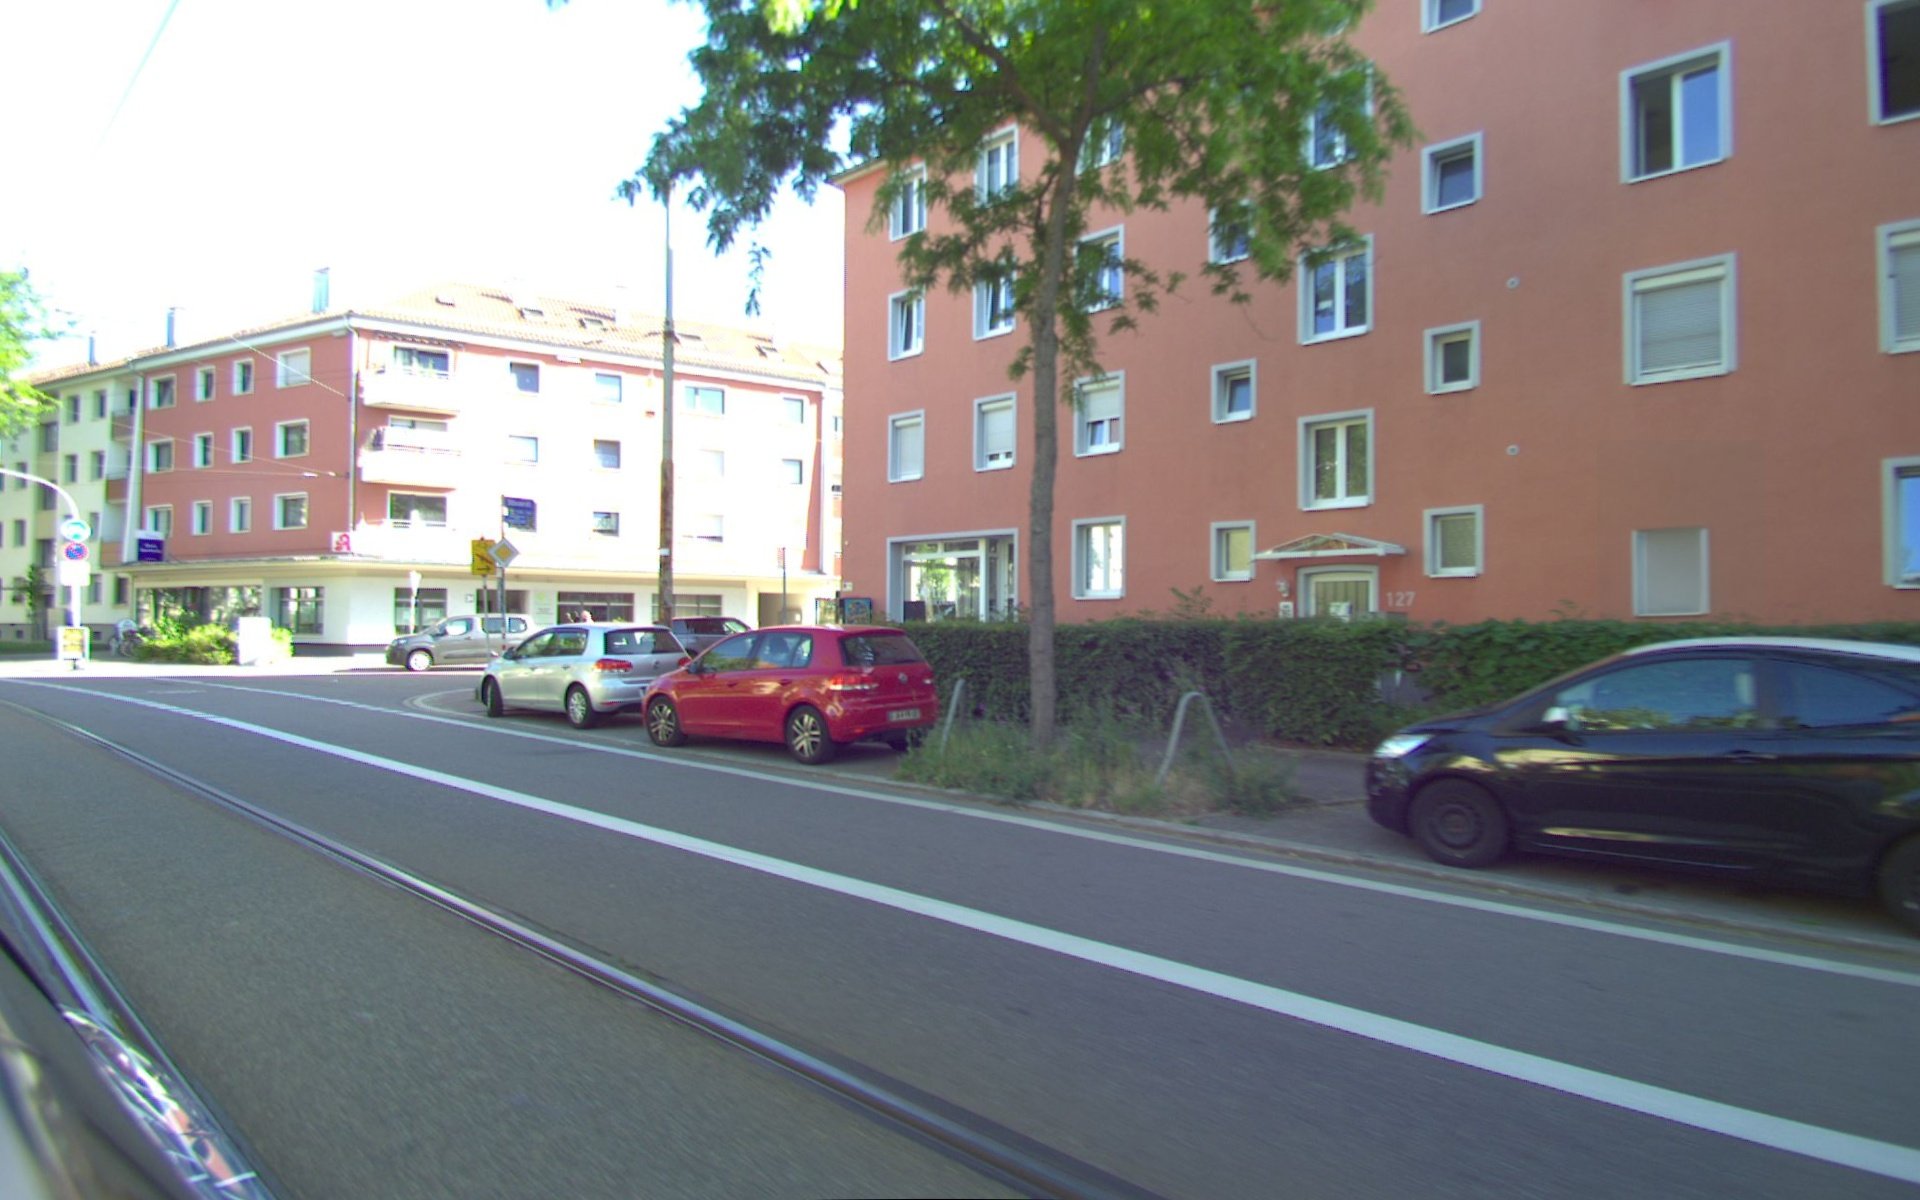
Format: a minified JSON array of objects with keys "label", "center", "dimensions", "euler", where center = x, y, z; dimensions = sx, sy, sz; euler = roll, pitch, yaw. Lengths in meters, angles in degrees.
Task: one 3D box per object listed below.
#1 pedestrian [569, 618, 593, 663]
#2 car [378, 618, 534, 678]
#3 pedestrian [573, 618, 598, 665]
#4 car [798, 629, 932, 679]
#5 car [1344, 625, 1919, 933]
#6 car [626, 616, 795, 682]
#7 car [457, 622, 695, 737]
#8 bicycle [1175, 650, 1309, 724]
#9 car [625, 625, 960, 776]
[{"label":"pedestrian","center":[-15.048,1.611,40.157],"dimensions":[0.791,1.779,0.510],"euler":[2,-3,-29]},{"label":"car","center":[-15.925,1.524,32.055],"dimensions":[4.216,1.793,1.793],"euler":[2,-3,-32]},{"label":"pedestrian","center":[-14.421,1.611,39.005],"dimensions":[0.791,1.779,0.510],"euler":[2,-3,-29]},{"label":"car","center":[-3.033,1.720,32.482],"dimensions":[3.941,1.518,1.690],"euler":[2,-3,-29]},{"label":"car","center":[4.436,0.897,6.096],"dimensions":[3.666,1.465,1.538],"euler":[-1,-1,41]},{"label":"car","center":[-7.228,1.425,29.436],"dimensions":[4.414,1.793,1.794],"euler":[2,-3,-28]},{"label":"car","center":[-5.886,1.092,15.311],"dimensions":[4.093,1.517,1.557],"euler":[-1,-1,40]},{"label":"bicycle","center":[4.035,1.222,14.592],"dimensions":[1.819,0.940,0.500],"euler":[-1,0,44]},{"label":"car","center":[-2.077,1.035,11.883],"dimensions":[4.091,1.465,1.558],"euler":[-1,-1,39]}]
